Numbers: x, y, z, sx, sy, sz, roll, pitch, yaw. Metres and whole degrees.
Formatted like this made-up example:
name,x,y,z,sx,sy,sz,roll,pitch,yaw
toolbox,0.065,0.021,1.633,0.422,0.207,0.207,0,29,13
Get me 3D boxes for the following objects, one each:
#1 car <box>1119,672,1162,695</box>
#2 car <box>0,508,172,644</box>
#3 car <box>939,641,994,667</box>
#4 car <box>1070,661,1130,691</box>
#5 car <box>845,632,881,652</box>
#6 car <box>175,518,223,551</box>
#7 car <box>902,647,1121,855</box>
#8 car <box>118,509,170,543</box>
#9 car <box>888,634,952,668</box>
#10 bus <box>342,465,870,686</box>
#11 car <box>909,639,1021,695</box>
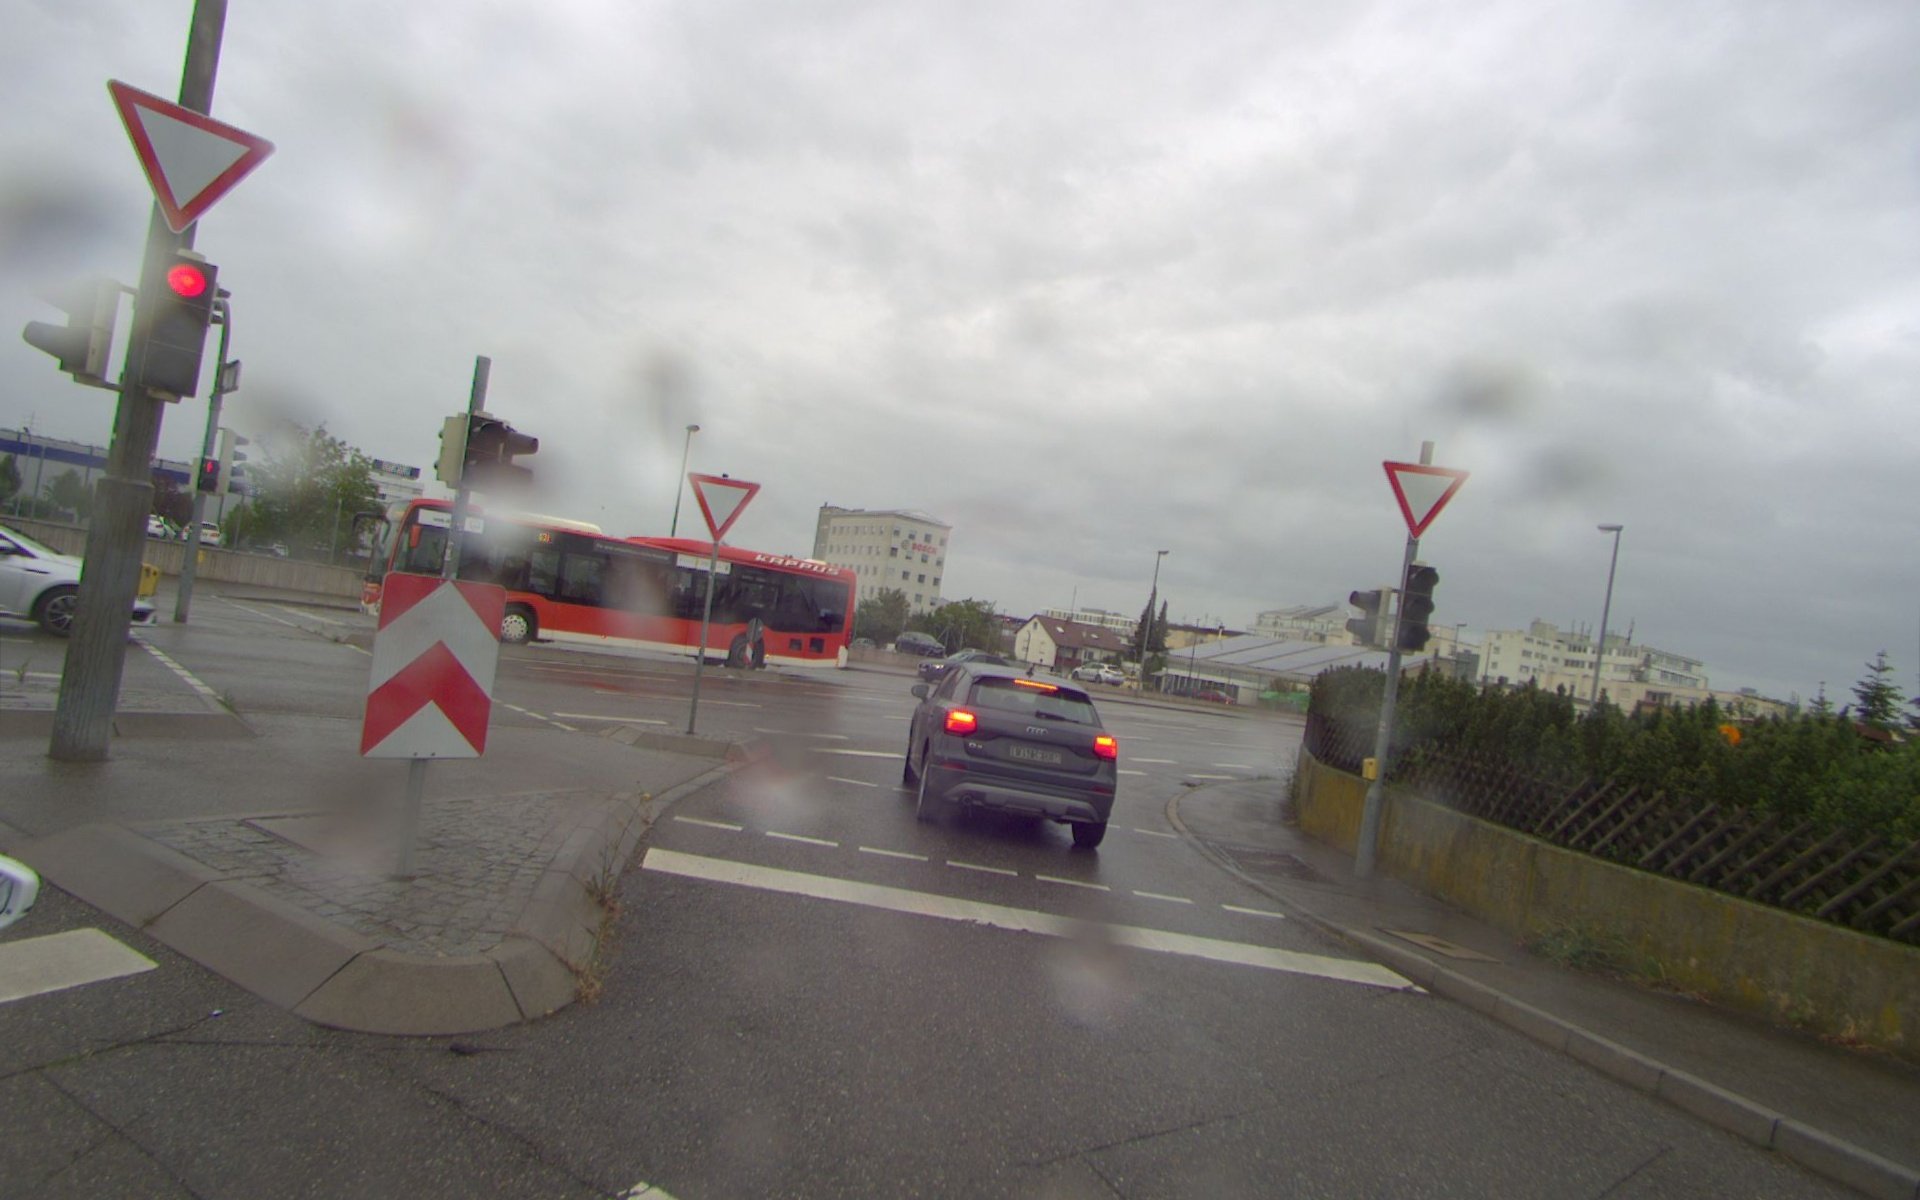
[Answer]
name,x,y,z,sx,sy,sz,roll,pitch,yaw
car,17.958,8.315,100.064,3.760,1.771,1.887,9,-2,-29
car,-12.309,-0.489,12.147,4.131,1.432,1.903,11,-3,-44
car,0.518,4.404,82.222,3.951,1.494,1.989,9,-2,-24
car,9.712,5.280,70.051,1.979,1.494,3.971,9,-2,-29
car,-9.691,4.216,100.463,1.979,1.494,3.971,9,-2,-29
car,-43.919,-3.784,58.021,1.986,1.494,3.958,10,-2,-38
car,0.334,1.409,10.538,1.659,1.510,3.943,10,-4,-3
car,-45.639,-4.111,56.353,1.985,1.494,3.959,10,-2,-38
car,-2.496,3.114,61.953,1.983,1.494,3.964,10,-2,-34
bus,-8.312,-0.259,25.765,12.246,3.357,3.039,12,-3,-41
car,0.220,2.706,40.778,3.963,1.584,1.984,11,-3,-31
